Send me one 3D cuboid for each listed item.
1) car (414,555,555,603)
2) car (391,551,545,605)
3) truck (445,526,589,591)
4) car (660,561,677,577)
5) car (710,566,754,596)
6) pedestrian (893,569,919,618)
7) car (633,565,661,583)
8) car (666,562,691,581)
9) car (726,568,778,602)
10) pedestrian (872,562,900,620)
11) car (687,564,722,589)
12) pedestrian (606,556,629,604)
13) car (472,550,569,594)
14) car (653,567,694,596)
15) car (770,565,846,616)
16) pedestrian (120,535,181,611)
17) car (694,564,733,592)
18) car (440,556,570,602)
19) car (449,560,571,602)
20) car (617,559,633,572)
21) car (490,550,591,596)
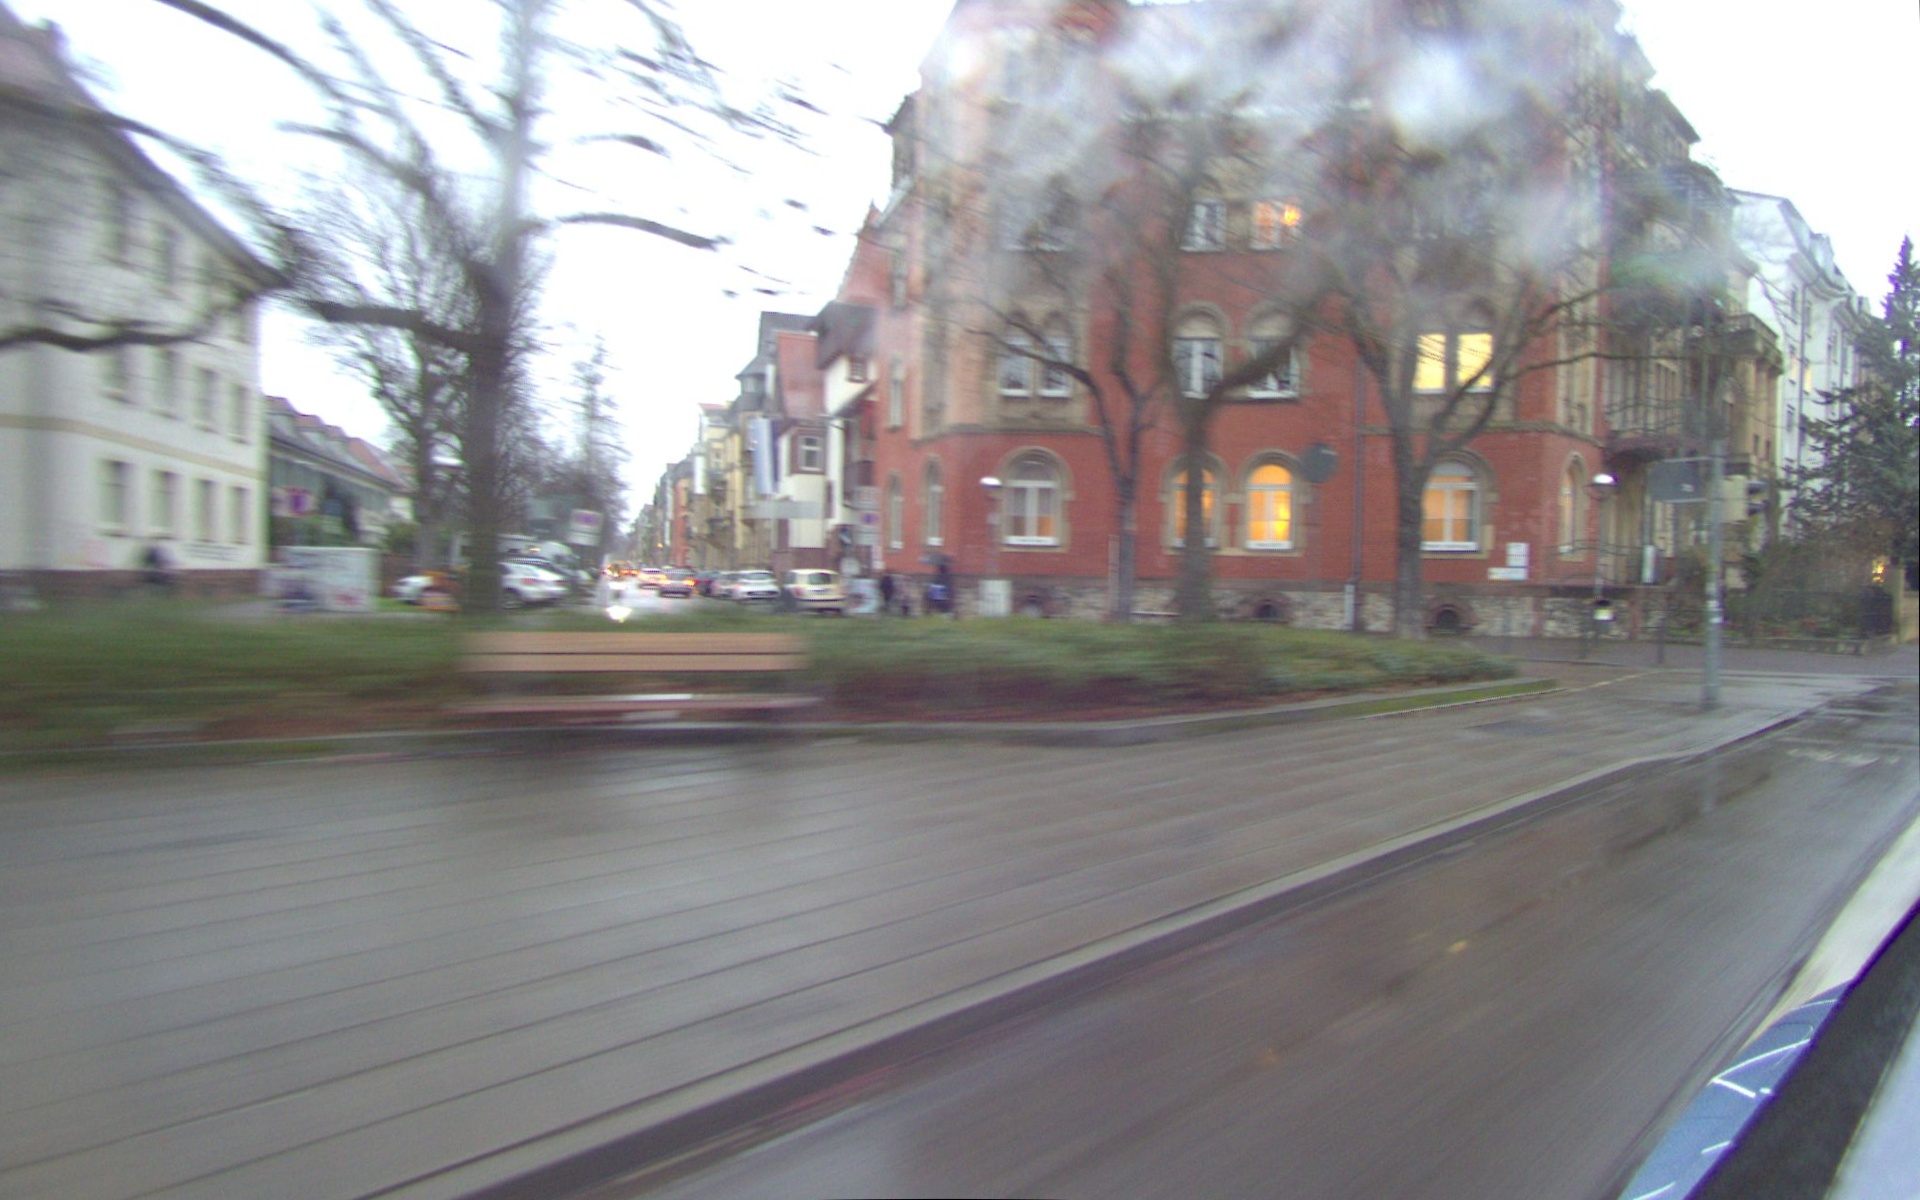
[{"bbox_3d":[-15.625,-0.686,33.453,3.916,1.494,1.855,1,1,-13],"label":"car"},{"bbox_3d":[-14.923,-0.667,30.890,3.916,1.504,1.855,1,1,-13],"label":"car"},{"bbox_3d":[-22.707,-2.093,52.160,6.593,3.130,2.639,0,2,-22],"label":"truck"},{"bbox_3d":[-29.998,-3.193,104.129,1.541,1.590,4.010,1,2,-19],"label":"car"},{"bbox_3d":[-12.099,-1.031,53.582,1.689,1.526,4.009,1,2,-21],"label":"car"},{"bbox_3d":[-1.499,-0.173,28.000,0.596,1.333,0.548,1,0,-19],"label":"pedestrian"},{"bbox_3d":[-22.863,-1.900,73.864,1.732,1.228,3.853,0,2,-21],"label":"car"},{"bbox_3d":[-24.348,-2.453,87.553,1.689,1.590,4.009,1,2,-21],"label":"car"},{"bbox_3d":[-9.400,-0.711,45.501,1.613,1.415,4.009,1,2,-21],"label":"car"},{"bbox_3d":[-2.014,-0.236,27.520,0.630,1.546,0.548,1,0,-19],"label":"pedestrian"},{"bbox_3d":[-16.509,-1.520,65.217,1.689,1.534,4.009,1,2,-21],"label":"car"},{"bbox_3d":[-13.701,-0.799,40.507,0.797,1.887,0.880,1,1,-14],"label":"pedestrian"},{"bbox_3d":[-21.464,-1.349,49.541,4.237,2.038,2.004,0,2,-24],"label":"car"},{"bbox_3d":[-16.106,-1.016,56.844,1.930,1.498,4.007,0,-1,-20],"label":"car"},{"bbox_3d":[-5.061,-0.350,33.211,1.613,1.514,4.009,1,2,-21],"label":"car"},{"bbox_3d":[-18.202,-0.609,22.771,0.744,1.662,1.125,1,1,-20],"label":"pedestrian"},{"bbox_3d":[-14.432,-1.308,59.233,1.689,1.517,4.009,1,2,-21],"label":"car"},{"bbox_3d":[-15.997,-0.740,35.770,3.916,1.494,1.855,1,1,-13],"label":"car"},{"bbox_3d":[-16.956,-0.734,38.294,3.916,1.494,1.855,1,1,-13],"label":"car"},{"bbox_3d":[-52.711,-5.476,159.405,1.958,2.038,4.009,1,2,-13],"label":"car"},{"bbox_3d":[-18.650,-1.201,45.175,3.916,1.957,1.855,1,1,-13],"label":"car"}]
